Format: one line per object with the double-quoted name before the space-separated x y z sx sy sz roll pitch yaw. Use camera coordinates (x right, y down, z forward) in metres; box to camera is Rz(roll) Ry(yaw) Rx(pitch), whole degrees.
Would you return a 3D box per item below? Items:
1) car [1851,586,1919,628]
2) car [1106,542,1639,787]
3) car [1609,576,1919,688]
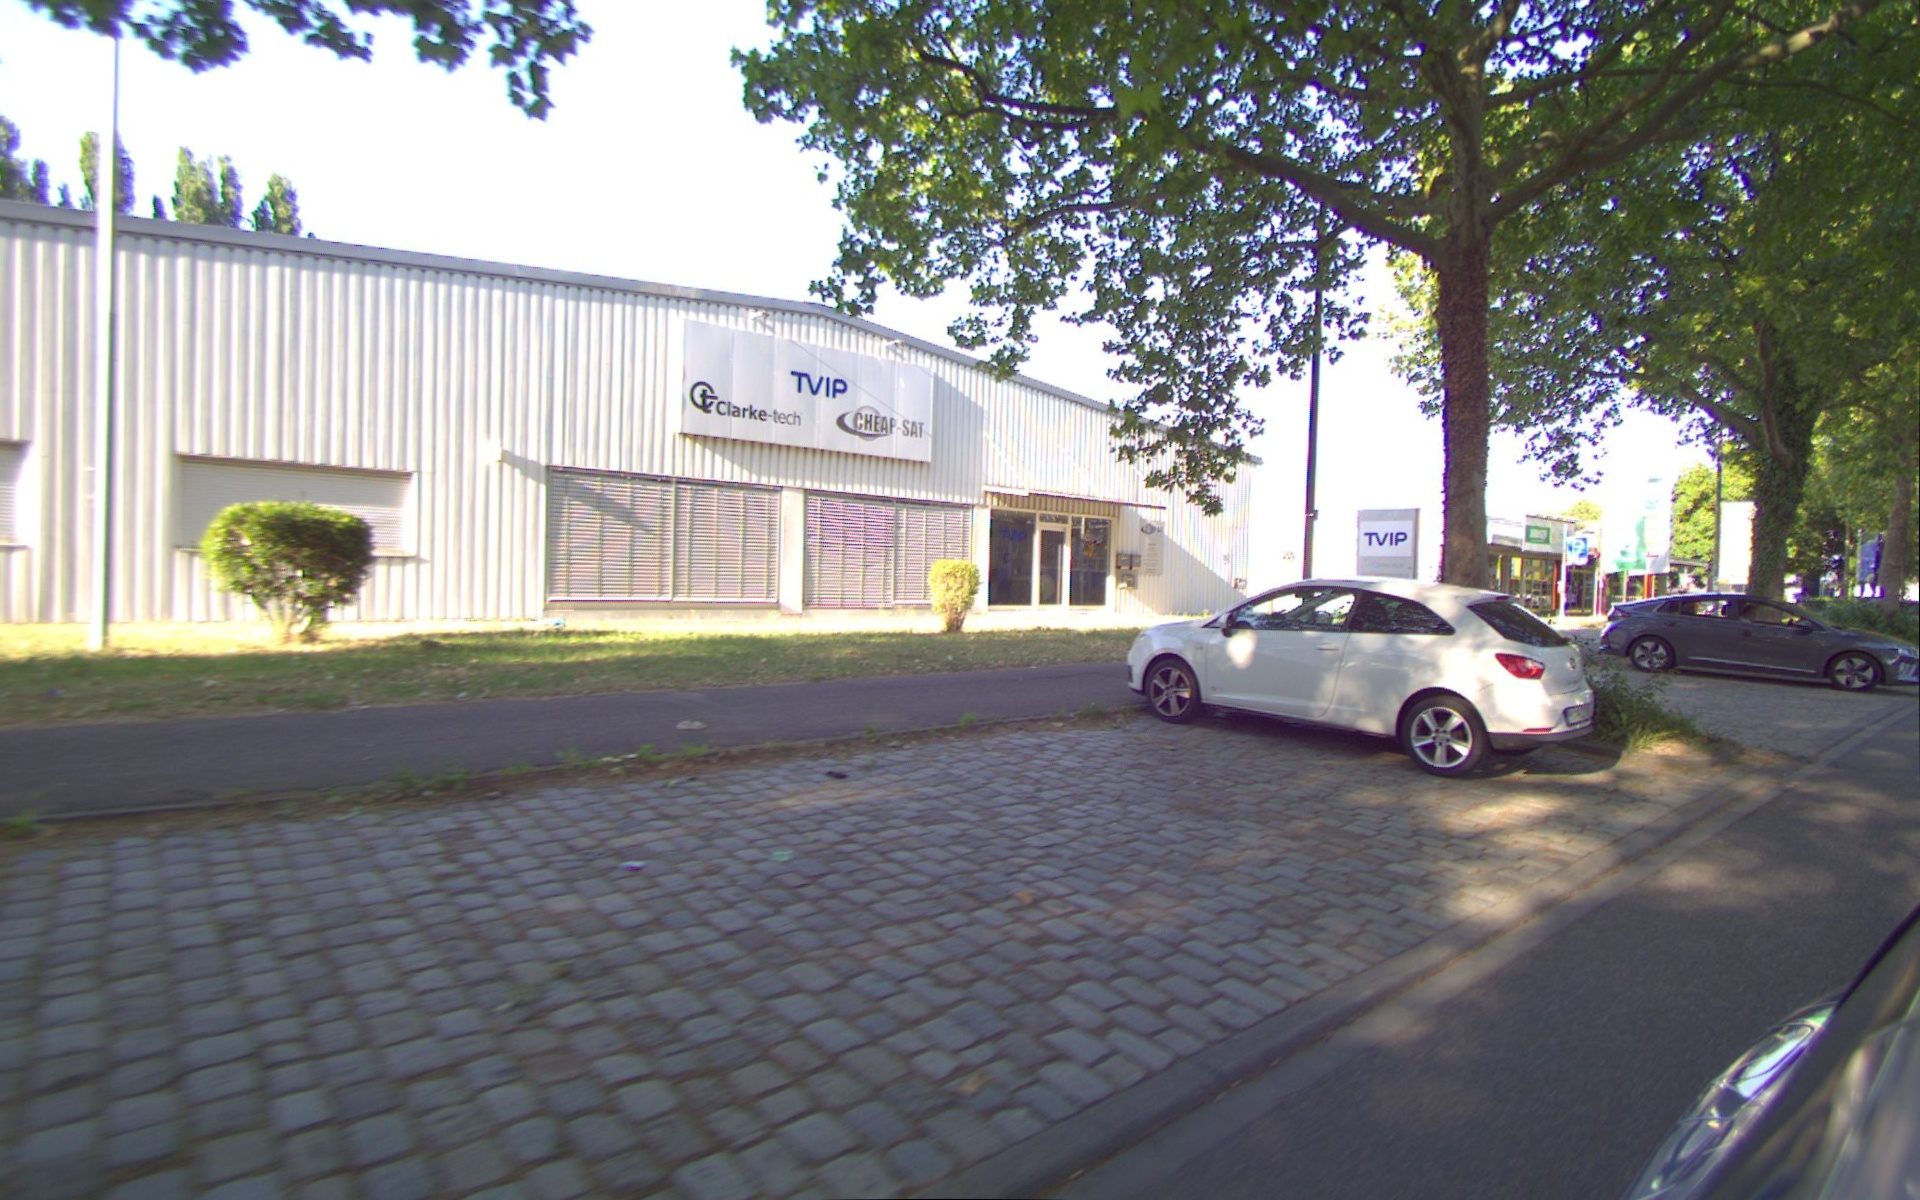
"car" 37.722 0.340 39.477 4.290 1.435 1.968 6 5 45
"car" 3.330 0.340 8.814 1.638 1.531 3.944 -1 5 -41
"car" 13.807 0.445 17.133 4.396 1.435 1.968 6 5 45
